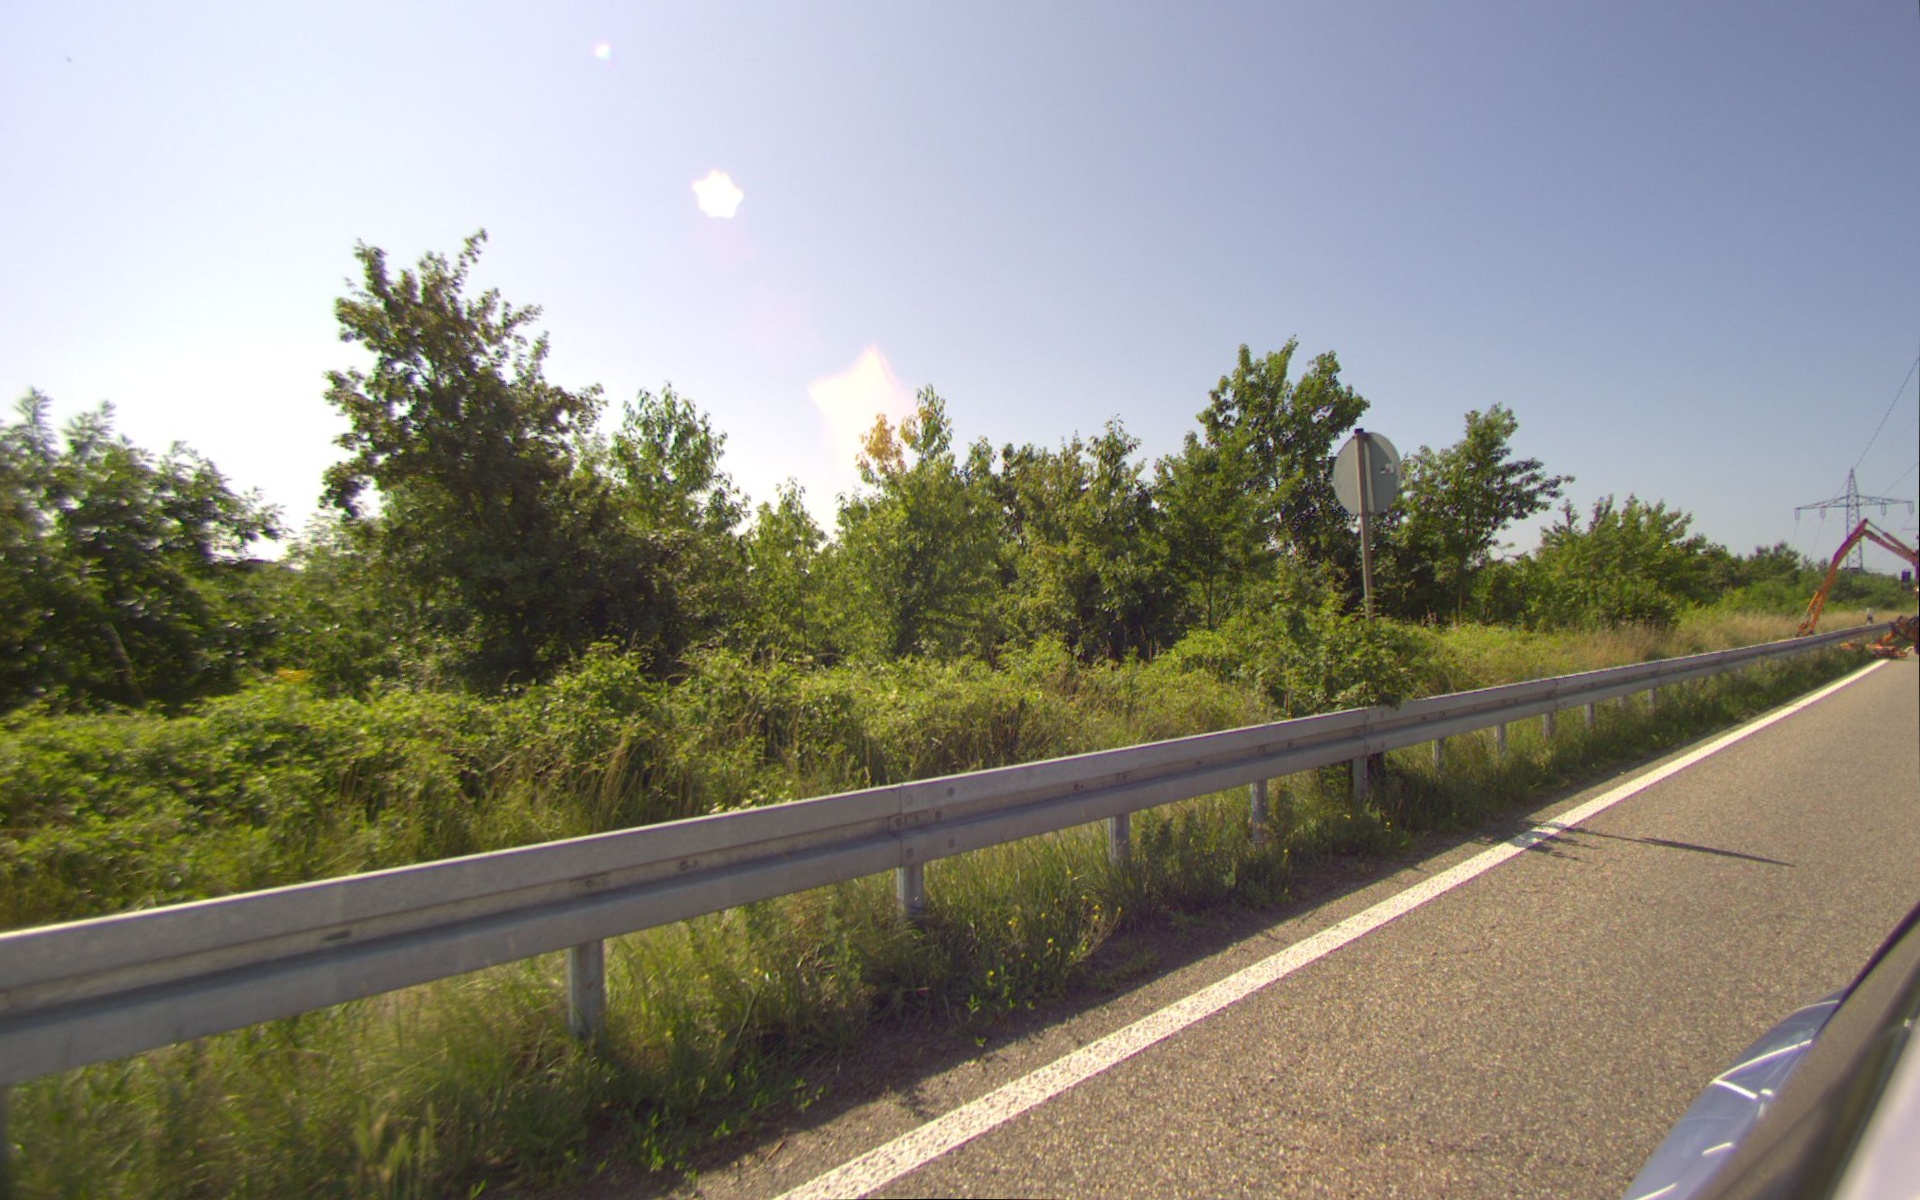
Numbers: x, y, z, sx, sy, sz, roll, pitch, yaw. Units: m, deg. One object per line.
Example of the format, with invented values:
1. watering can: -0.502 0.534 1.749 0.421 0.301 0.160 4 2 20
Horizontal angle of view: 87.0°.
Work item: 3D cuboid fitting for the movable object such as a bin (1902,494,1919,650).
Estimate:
1. movable object such as a bin: 28.087 -0.687 27.790 9.287 3.888 2.755 0 0 -44
